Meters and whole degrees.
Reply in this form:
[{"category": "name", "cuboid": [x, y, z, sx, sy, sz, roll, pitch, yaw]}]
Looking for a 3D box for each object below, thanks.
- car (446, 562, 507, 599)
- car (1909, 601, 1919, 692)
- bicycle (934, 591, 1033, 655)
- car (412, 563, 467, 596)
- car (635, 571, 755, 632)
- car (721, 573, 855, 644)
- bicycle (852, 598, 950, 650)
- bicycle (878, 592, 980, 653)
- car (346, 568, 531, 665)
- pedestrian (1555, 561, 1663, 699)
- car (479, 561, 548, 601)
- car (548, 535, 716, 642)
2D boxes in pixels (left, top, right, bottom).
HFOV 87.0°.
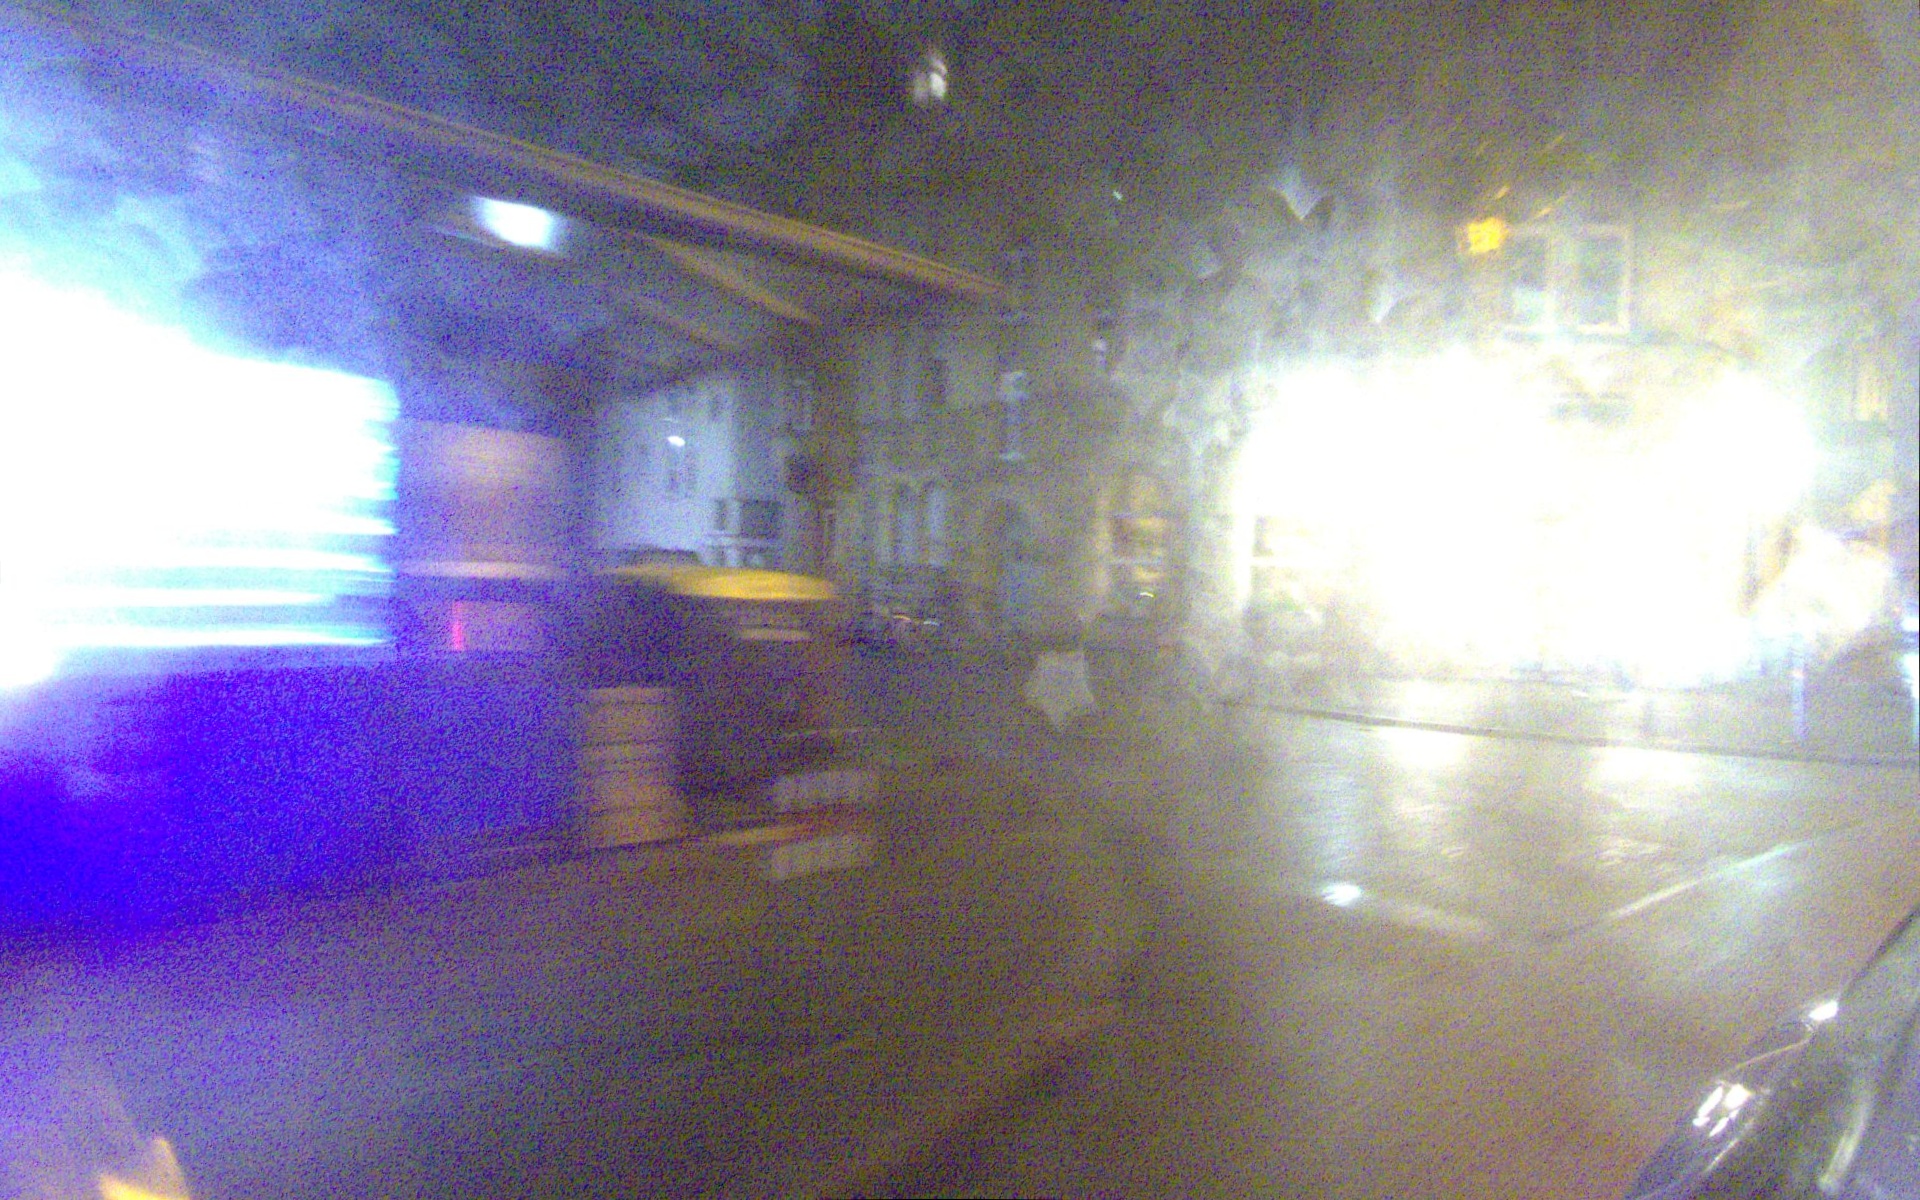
[{"category": "car", "cuboid": [-20.660, -0.848, 43.172, 1.581, 1.476, 3.412, 0, 1, -40]}, {"category": "car", "cuboid": [17.119, 0.758, 16.621, 3.932, 1.429, 1.920, 0, 2, -42]}, {"category": "bicycle", "cuboid": [0.461, 0.400, 18.888, 1.948, 1.130, 0.507, -1, 0, -37]}, {"category": "car", "cuboid": [-24.322, -0.987, 47.221, 1.581, 1.476, 3.412, 0, 1, -40]}, {"category": "car", "cuboid": [-7.155, -0.011, 27.053, 1.581, 1.476, 3.976, 0, 1, -39]}, {"category": "car", "cuboid": [-4.057, 0.148, 23.530, 1.581, 1.476, 3.412, 0, 1, -40]}, {"category": "bicycle", "cuboid": [-1.197, 0.473, 20.842, 1.948, 1.023, 0.702, -1, 0, -37]}, {"category": "bicycle", "cuboid": [-0.592, 0.418, 19.817, 1.948, 1.130, 0.702, -1, 0, -37]}, {"category": "car", "cuboid": [-9.487, 0.209, 18.248, 1.742, 1.521, 4.410, 0, 2, -45]}, {"category": "pedestrian", "cuboid": [9.070, 0.399, 14.148, 1.063, 1.810, 0.865, 2, 2, -38]}, {"category": "car", "cuboid": [-17.396, -0.749, 39.392, 1.581, 1.476, 3.412, 0, 1, -40]}, {"category": "car", "cuboid": [-7.296, -0.291, 22.201, 1.966, 2.074, 4.691, 0, 1, -38]}]
